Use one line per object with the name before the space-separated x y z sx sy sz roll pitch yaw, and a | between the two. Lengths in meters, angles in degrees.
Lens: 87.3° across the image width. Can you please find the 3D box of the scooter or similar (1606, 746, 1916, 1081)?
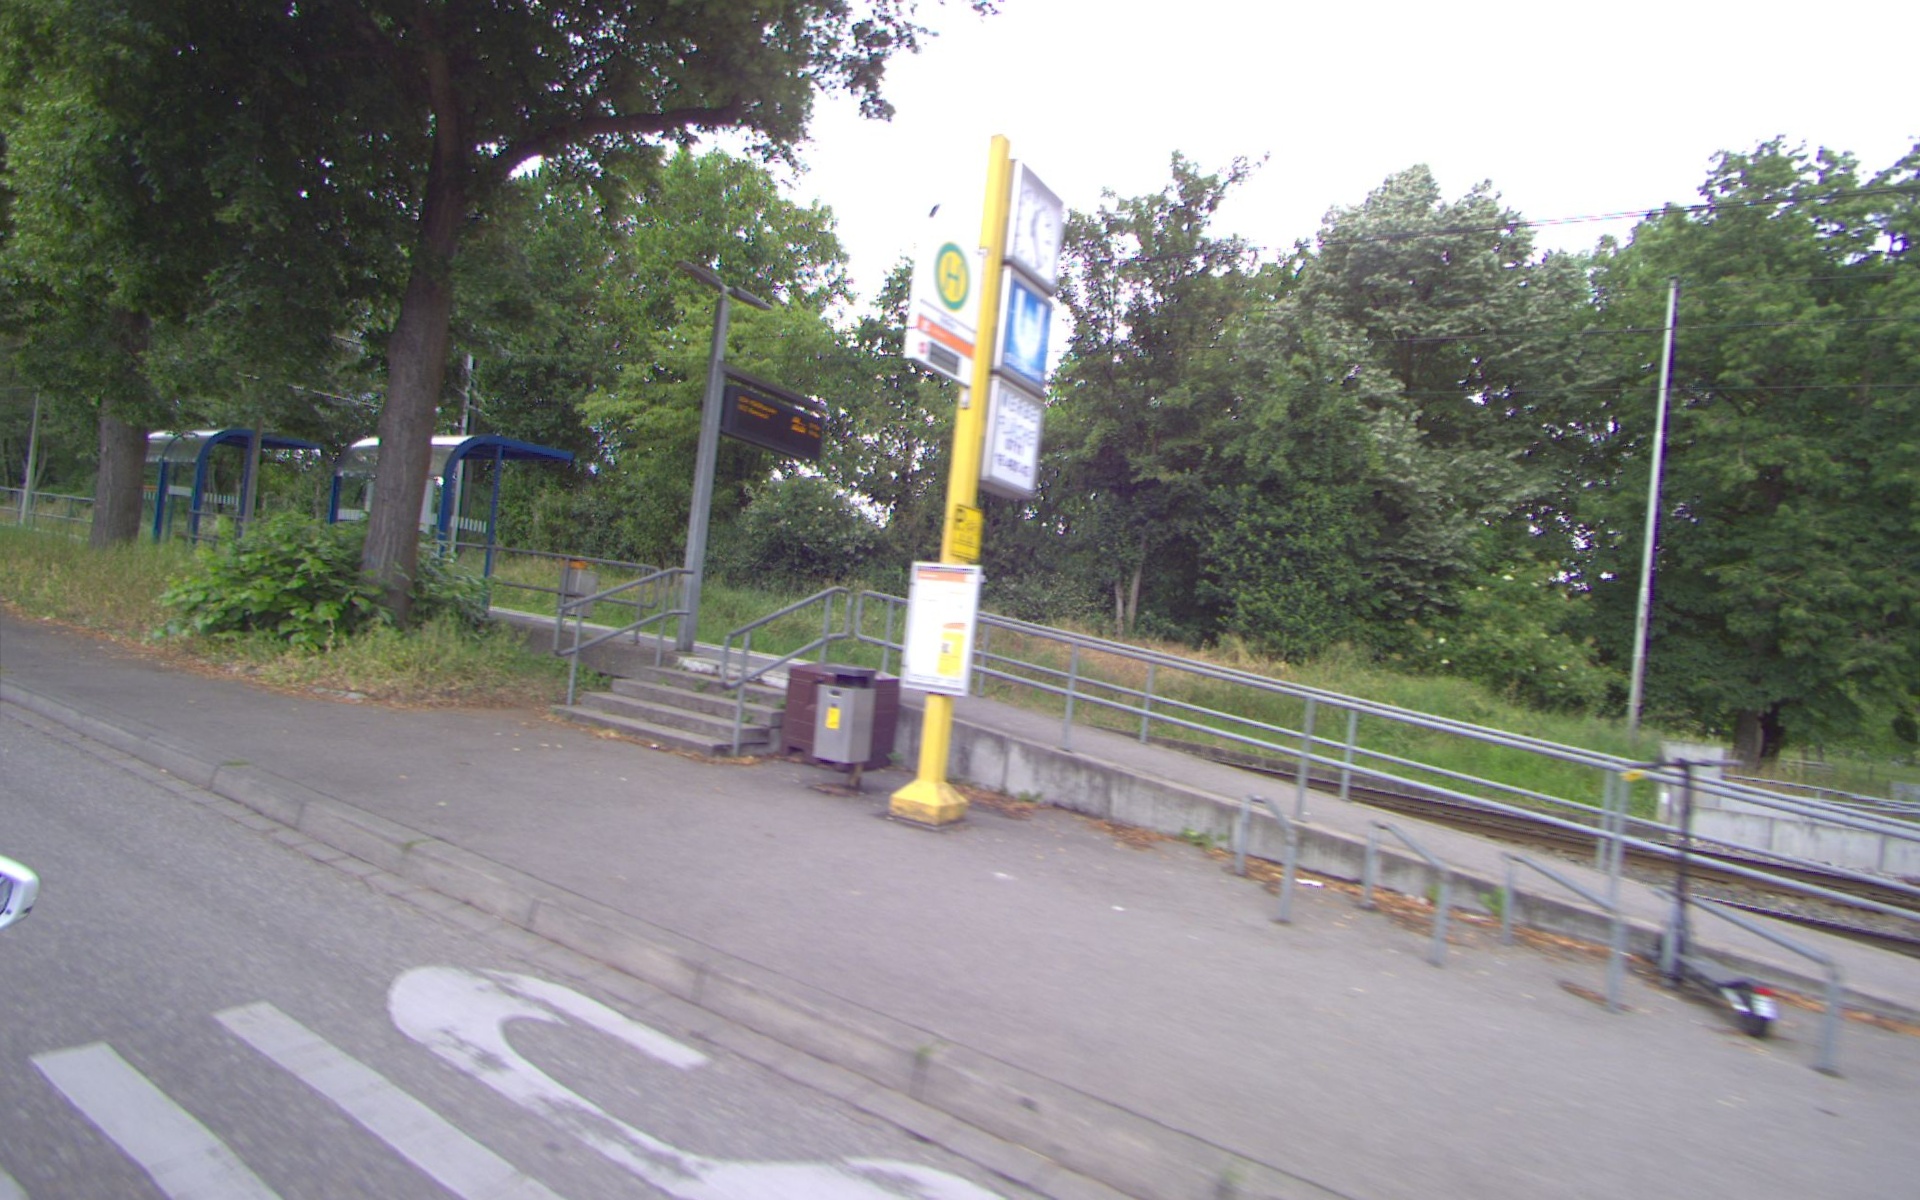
scooter or similar | 3.932 1.458 5.083 0.475 1.257 1.460 7 -2 11
